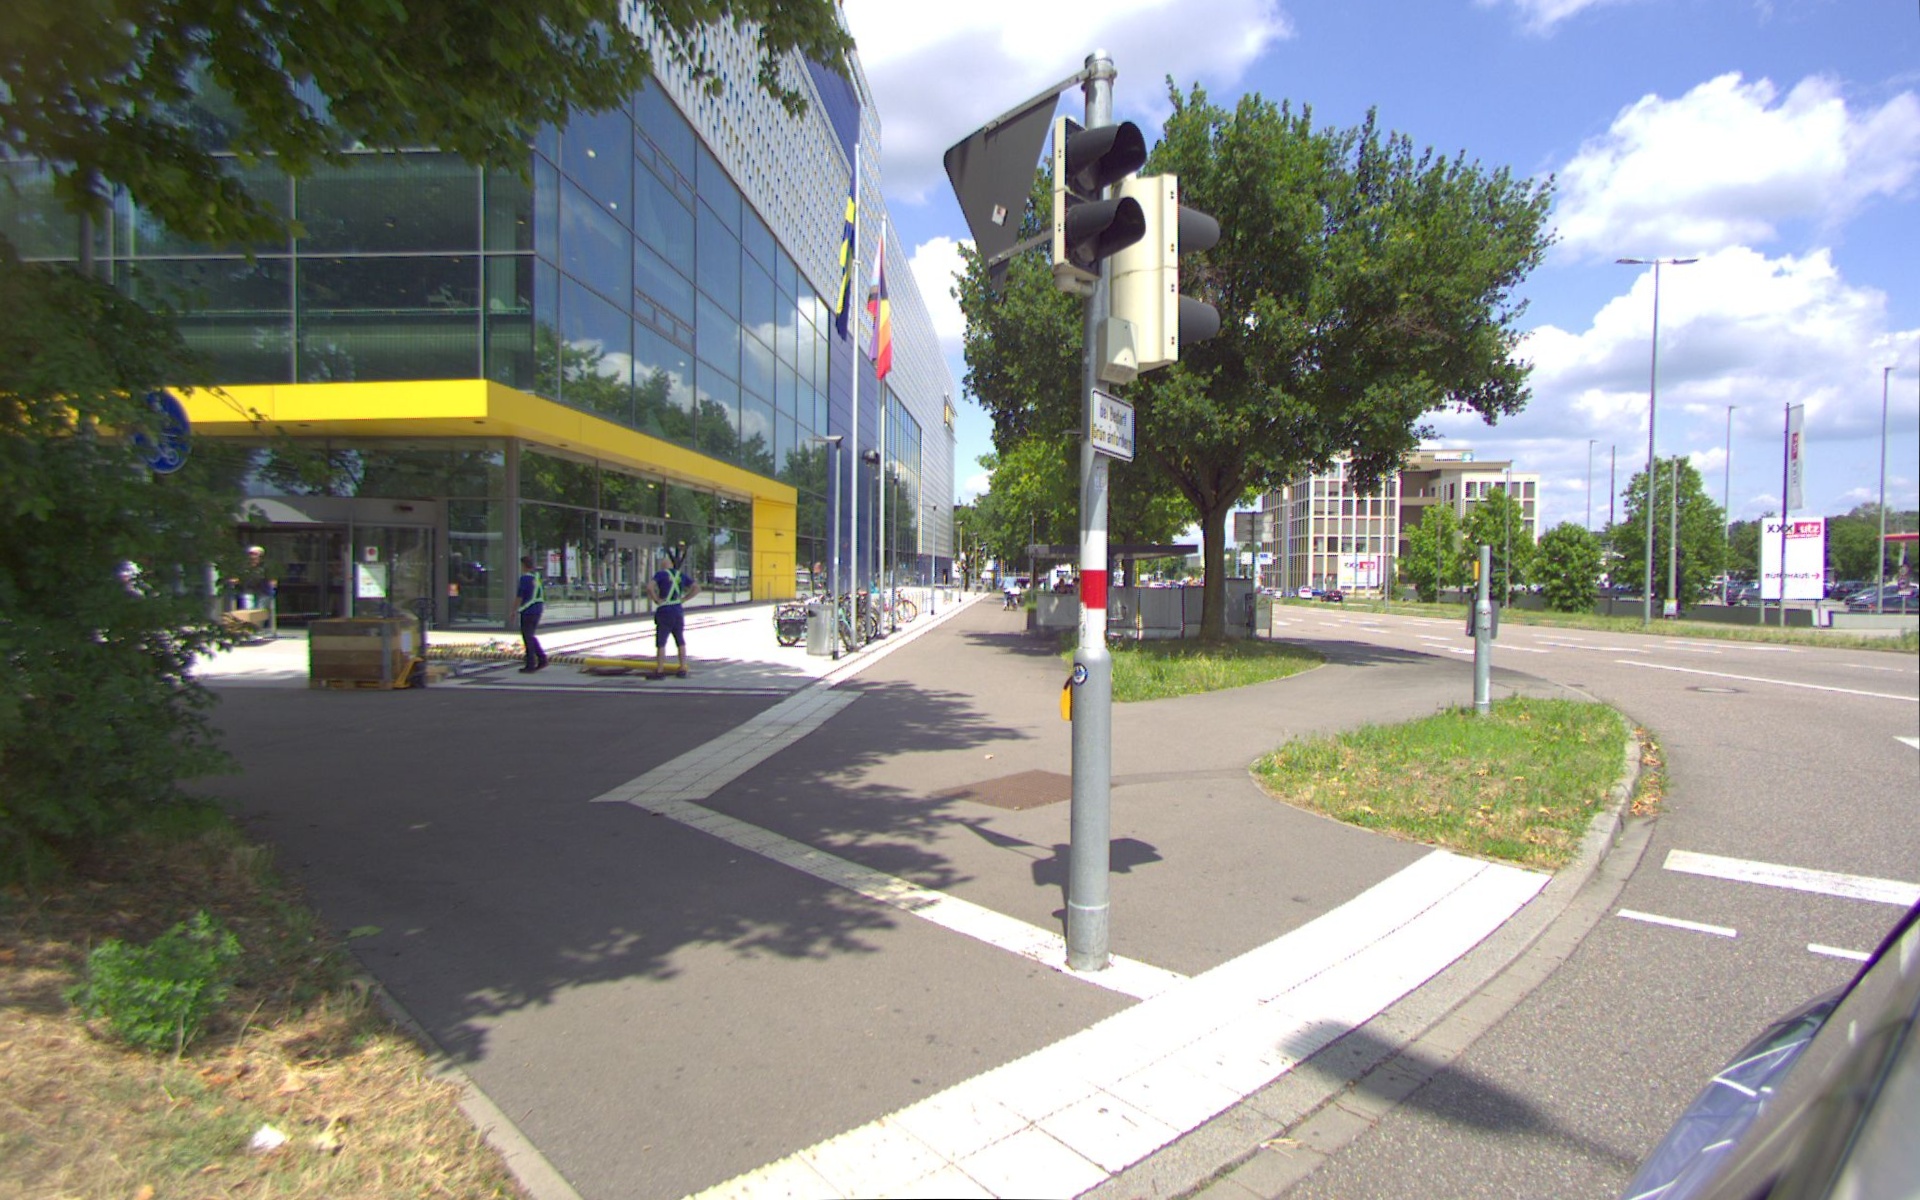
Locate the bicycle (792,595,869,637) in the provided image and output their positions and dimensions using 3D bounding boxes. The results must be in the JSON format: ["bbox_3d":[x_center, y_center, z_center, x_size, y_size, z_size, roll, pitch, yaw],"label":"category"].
[{"bbox_3d":[-3.232,0.395,25.312,1.833,1.007,0.464,1,0,2],"label":"bicycle"}]

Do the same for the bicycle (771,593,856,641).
[{"bbox_3d":[-3.302,0.374,22.854,1.836,1.007,0.423,2,0,8],"label":"bicycle"}]

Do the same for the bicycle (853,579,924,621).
[{"bbox_3d":[-2.280,-0.018,32.304,2.117,1.245,0.717,2,1,17],"label":"bicycle"}]

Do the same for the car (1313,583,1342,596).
[{"bbox_3d":[58.295,-1.645,160.571,3.936,2.039,1.994,1,0,10],"label":"car"}]

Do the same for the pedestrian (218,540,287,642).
[{"bbox_3d":[-13.705,-0.184,19.601,0.958,1.909,0.885,1,0,-44],"label":"pedestrian"}]

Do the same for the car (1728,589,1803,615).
[{"bbox_3d":[64.368,0.161,80.916,4.286,2.014,1.997,1,-1,6],"label":"car"}]

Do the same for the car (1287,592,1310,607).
[{"bbox_3d":[37.719,-0.094,112.744,1.716,1.493,3.668,1,2,8],"label":"car"}]

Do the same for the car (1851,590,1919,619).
[{"bbox_3d":[69.382,0.343,75.260,4.225,2.068,1.989,1,1,6],"label":"car"}]

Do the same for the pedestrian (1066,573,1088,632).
[{"bbox_3d":[3.372,0.056,29.224,0.538,1.683,0.543,1,0,17],"label":"pedestrian"}]

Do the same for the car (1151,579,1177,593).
[{"bbox_3d":[32.976,-2.245,163.518,3.936,2.039,1.994,1,0,10],"label":"car"}]

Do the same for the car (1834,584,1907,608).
[{"bbox_3d":[79.757,-0.384,88.702,4.286,2.014,1.997,1,1,6],"label":"car"}]

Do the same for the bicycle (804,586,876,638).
[{"bbox_3d":[-2.831,0.286,23.835,1.647,1.172,0.462,1,0,-8],"label":"bicycle"}]

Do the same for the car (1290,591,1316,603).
[{"bbox_3d":[44.549,-0.382,131.419,1.592,1.491,4.362,1,0,-4],"label":"car"}]

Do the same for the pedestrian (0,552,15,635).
[{"bbox_3d":[-19.968,-0.130,20.686,0.689,1.684,0.806,0,2,-24],"label":"pedestrian"}]

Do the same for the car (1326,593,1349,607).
[{"bbox_3d":[43.280,-0.028,116.043,1.597,1.488,4.107,1,1,8],"label":"car"}]

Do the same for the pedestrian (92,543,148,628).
[{"bbox_3d":[-19.196,-0.347,23.130,0.771,1.908,0.615,1,3,15],"label":"pedestrian"}]

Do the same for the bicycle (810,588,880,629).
[{"bbox_3d":[-3.103,0.228,27.401,1.833,1.007,0.424,2,2,2],"label":"bicycle"}]

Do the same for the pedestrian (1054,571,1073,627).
[{"bbox_3d":[3.112,-0.029,30.518,0.536,1.683,0.477,1,0,5],"label":"pedestrian"}]

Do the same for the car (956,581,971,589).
[{"bbox_3d":[0.595,-2.806,191.872,1.773,1.571,3.979,1,1,17],"label":"car"}]

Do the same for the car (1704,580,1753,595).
[{"bbox_3d":[82.574,-1.319,108.769,3.770,1.488,1.851,1,1,9],"label":"car"}]

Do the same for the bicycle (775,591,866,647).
[{"bbox_3d":[-2.980,0.403,21.599,1.886,1.121,0.505,1,2,-12],"label":"bicycle"}]

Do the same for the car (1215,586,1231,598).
[{"bbox_3d":[38.665,-1.185,148.890,1.768,1.665,4.159,1,0,9],"label":"car"}]

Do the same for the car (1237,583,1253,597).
[{"bbox_3d":[41.771,-1.428,148.186,1.833,2.069,3.567,1,0,9],"label":"car"}]

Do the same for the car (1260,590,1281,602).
[{"bbox_3d":[39.153,-0.477,127.781,1.767,1.420,4.834,0,0,8],"label":"car"}]

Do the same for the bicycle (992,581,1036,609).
[{"bbox_3d":[2.330,-0.212,43.816,2.009,1.121,0.568,4,2,44],"label":"bicycle"}]

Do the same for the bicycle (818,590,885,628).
[{"bbox_3d":[-3.050,0.252,28.582,1.833,1.007,0.424,1,1,2],"label":"bicycle"}]

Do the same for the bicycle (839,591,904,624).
[{"bbox_3d":[-2.611,0.211,29.929,1.833,0.893,0.424,2,1,2],"label":"bicycle"}]

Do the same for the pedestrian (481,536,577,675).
[{"bbox_3d":[-6.768,0.051,15.924,0.998,2.097,0.968,1,2,21],"label":"pedestrian"}]

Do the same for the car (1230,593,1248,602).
[{"bbox_3d":[37.641,-0.351,136.705,1.767,1.267,4.297,1,0,8],"label":"car"}]

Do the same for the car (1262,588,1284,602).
[{"bbox_3d":[37.547,-0.628,121.421,1.767,1.435,4.665,2,2,8],"label":"car"}]

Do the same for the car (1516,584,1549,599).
[{"bbox_3d":[72.623,-1.131,128.405,1.823,1.856,4.668,1,1,5],"label":"car"}]

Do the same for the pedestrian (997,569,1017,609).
[{"bbox_3d":[2.051,-0.478,44.138,0.624,1.742,0.523,0,2,-43],"label":"pedestrian"}]

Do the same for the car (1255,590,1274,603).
[{"bbox_3d":[40.418,-0.489,134.419,1.767,1.723,4.217,1,0,8],"label":"car"}]

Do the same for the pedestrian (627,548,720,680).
[{"bbox_3d":[-4.371,0.188,15.459,0.998,1.925,0.967,1,1,21],"label":"pedestrian"}]
